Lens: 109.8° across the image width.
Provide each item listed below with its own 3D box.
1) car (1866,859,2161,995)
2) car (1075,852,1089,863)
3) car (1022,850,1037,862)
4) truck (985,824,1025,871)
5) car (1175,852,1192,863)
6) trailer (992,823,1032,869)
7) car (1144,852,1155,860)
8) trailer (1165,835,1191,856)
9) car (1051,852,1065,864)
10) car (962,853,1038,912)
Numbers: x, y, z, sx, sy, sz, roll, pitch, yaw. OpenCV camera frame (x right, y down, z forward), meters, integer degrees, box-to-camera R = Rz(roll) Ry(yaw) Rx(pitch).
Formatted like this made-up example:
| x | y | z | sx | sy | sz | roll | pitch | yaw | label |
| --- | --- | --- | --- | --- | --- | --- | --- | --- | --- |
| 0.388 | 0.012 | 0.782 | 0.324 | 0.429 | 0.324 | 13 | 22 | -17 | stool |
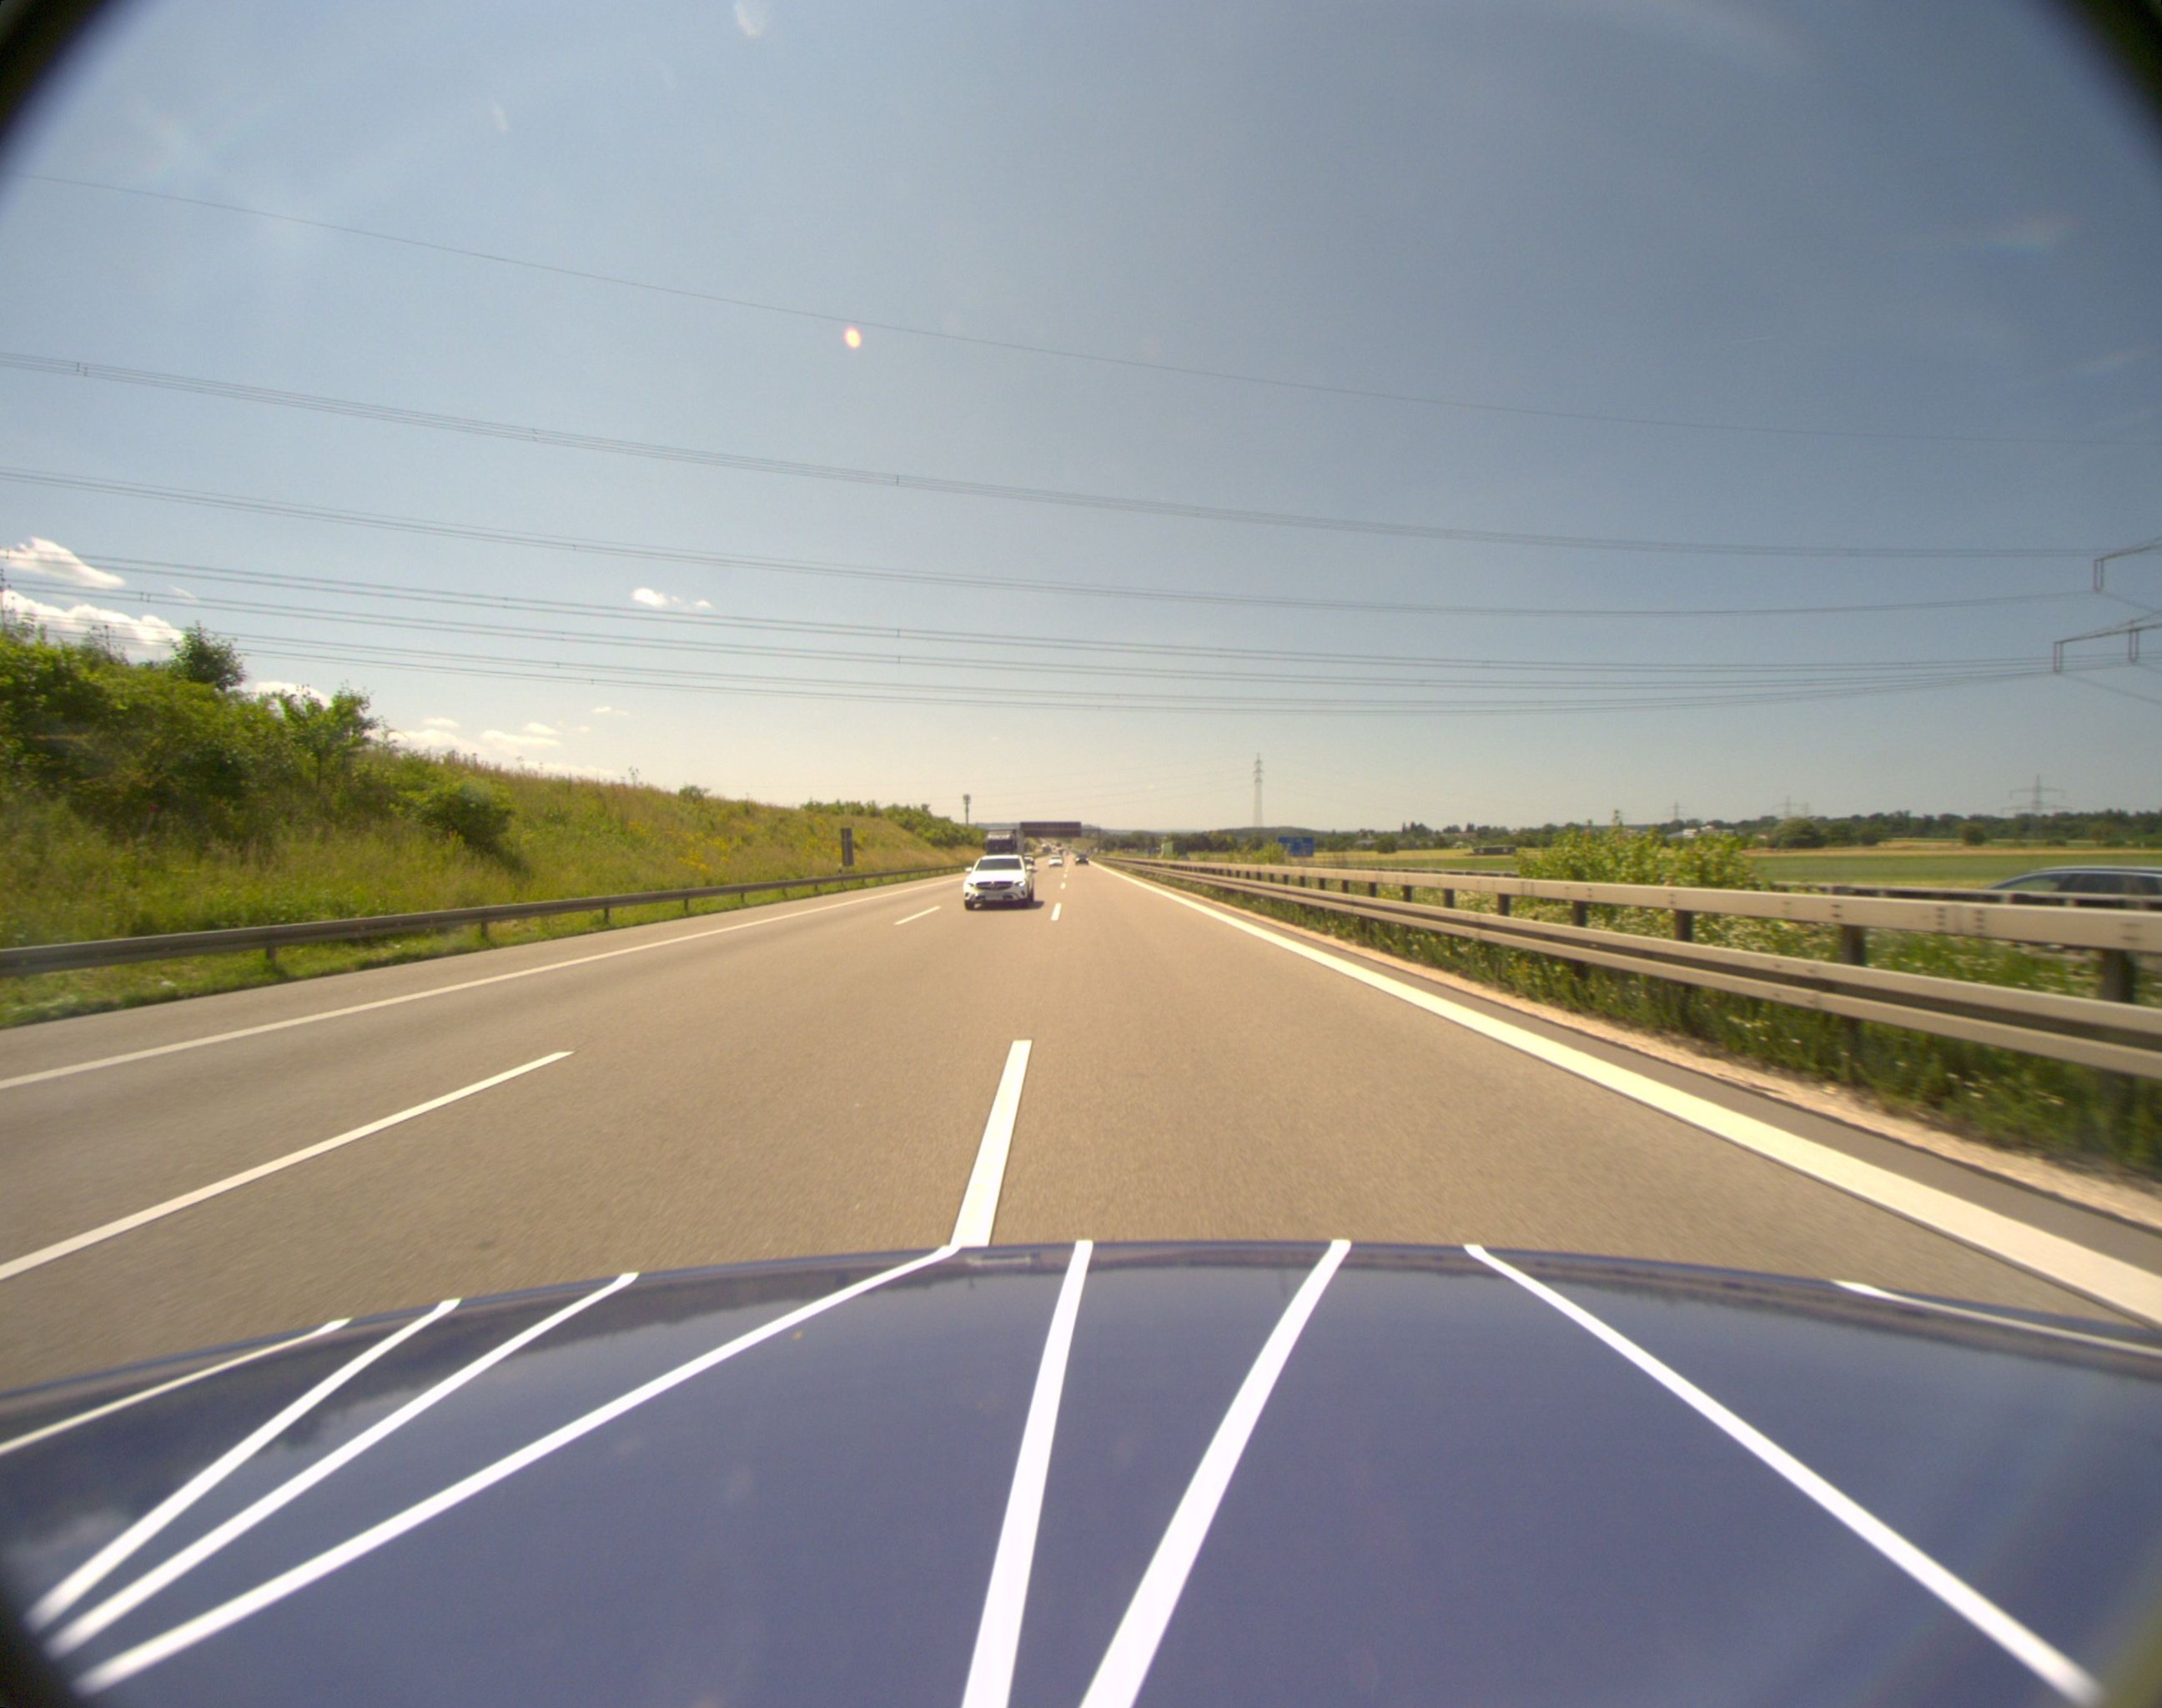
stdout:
| x | y | z | sx | sy | sz | roll | pitch | yaw | label |
| --- | --- | --- | --- | --- | --- | --- | --- | --- | --- |
| 14.250 | 0.915 | 10.698 | 1.952 | 1.534 | 4.285 | -2 | 1 | 0 | car |
| 0.088 | 0.493 | 107.730 | 1.751 | 1.439 | 3.999 | -1 | 1 | -2 | car |
| -7.844 | 0.316 | 116.188 | 2.040 | 1.794 | 4.249 | -2 | 1 | -1 | car |
| -6.858 | -0.646 | 69.330 | 2.759 | 3.997 | 6.787 | -2 | 1 | 0 | truck |
| 13.738 | 0.419 | 101.973 | 1.728 | 1.425 | 3.999 | 1 | 0 | -1 | car |
| -6.810 | -0.815 | 76.286 | 2.732 | 4.131 | 11.806 | -1 | 1 | 1 | trailer |
| 13.157 | 0.418 | 146.348 | 1.638 | 1.456 | 4.000 | 1 | 0 | 0 | car |
| 17.689 | -1.630 | 139.308 | 2.761 | 3.573 | 12.532 | -2 | 1 | -1 | trailer |
| -3.038 | 0.549 | 100.103 | 1.780 | 1.425 | 4.689 | -2 | 1 | -1 | car |
| -2.464 | 0.817 | 24.384 | 1.919 | 1.571 | 5.229 | -2 | 1 | -1 | car |
